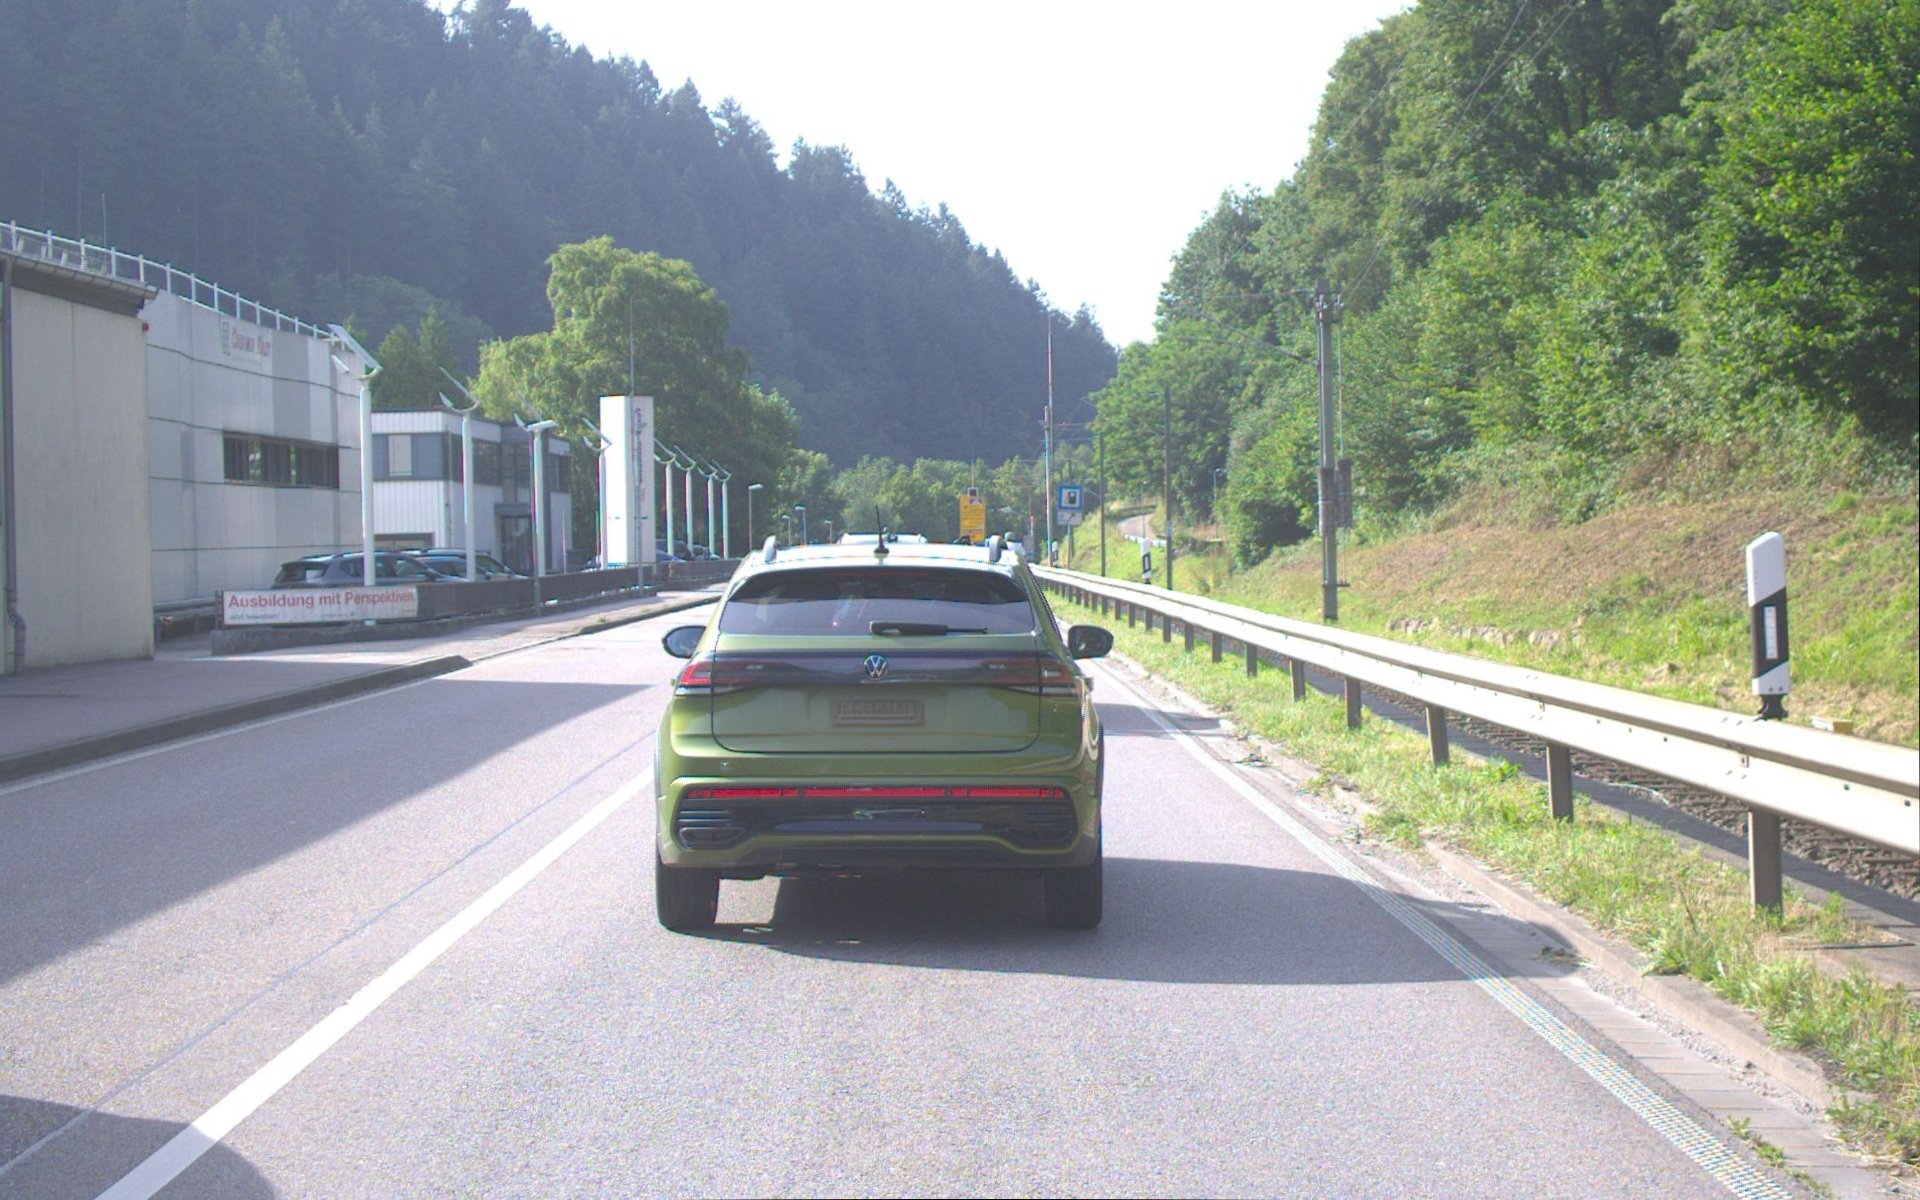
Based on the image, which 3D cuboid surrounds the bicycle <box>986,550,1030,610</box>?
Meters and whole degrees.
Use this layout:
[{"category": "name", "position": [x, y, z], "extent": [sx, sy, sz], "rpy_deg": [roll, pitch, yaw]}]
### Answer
[{"category": "bicycle", "position": [1.003, -0.436, 72.518], "extent": [0.811, 1.246, 2.123], "rpy_deg": [0, 1, -2]}]

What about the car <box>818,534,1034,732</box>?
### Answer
[{"category": "car", "position": [-0.321, 0.235, 29.793], "extent": [1.739, 1.596, 4.000], "rpy_deg": [0, 1, -1]}]

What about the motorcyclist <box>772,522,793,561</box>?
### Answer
[{"category": "motorcyclist", "position": [-5.202, -1.714, 101.033], "extent": [0.586, 1.121, 0.637], "rpy_deg": [0, 1, 0]}]

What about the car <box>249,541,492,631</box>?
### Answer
[{"category": "car", "position": [-10.871, -0.276, 63.586], "extent": [1.887, 1.586, 4.165], "rpy_deg": [0, 1, 41]}]

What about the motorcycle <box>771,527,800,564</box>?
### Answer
[{"category": "motorcycle", "position": [-5.135, -1.598, 101.088], "extent": [0.741, 1.065, 2.492], "rpy_deg": [0, 1, -1]}]

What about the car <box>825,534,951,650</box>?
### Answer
[{"category": "car", "position": [-1.047, -0.148, 49.643], "extent": [1.739, 1.596, 4.000], "rpy_deg": [0, 1, -1]}]

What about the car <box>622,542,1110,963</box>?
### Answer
[{"category": "car", "position": [-0.380, 0.510, 14.279], "extent": [1.739, 1.503, 4.000], "rpy_deg": [0, 1, -1]}]

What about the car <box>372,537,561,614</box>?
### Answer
[{"category": "car", "position": [-11.283, -0.587, 78.749], "extent": [1.780, 1.702, 4.101], "rpy_deg": [0, 1, 42]}]

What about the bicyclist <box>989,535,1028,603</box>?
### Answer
[{"category": "bicyclist", "position": [1.016, -0.657, 72.247], "extent": [0.781, 1.407, 0.675], "rpy_deg": [0, 1, -2]}]
